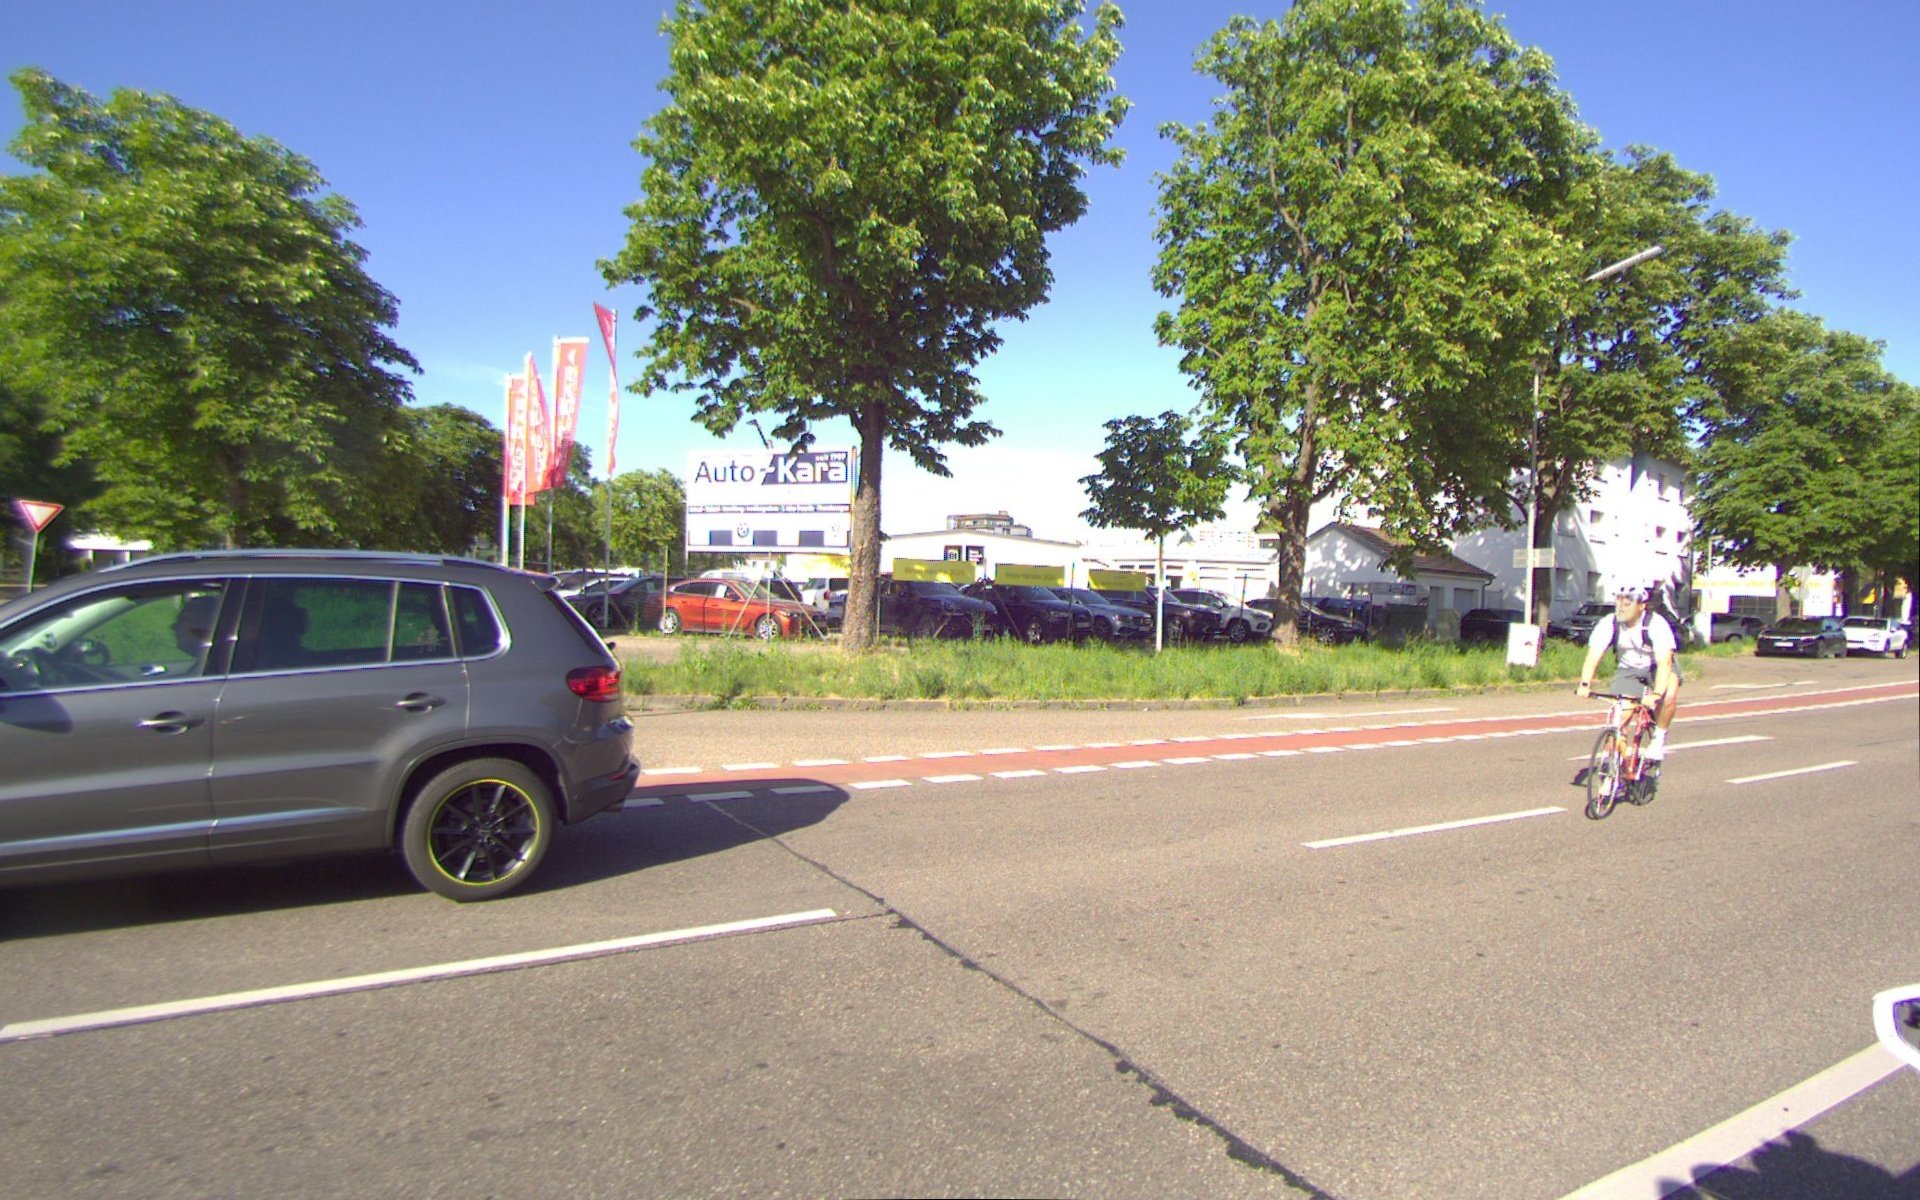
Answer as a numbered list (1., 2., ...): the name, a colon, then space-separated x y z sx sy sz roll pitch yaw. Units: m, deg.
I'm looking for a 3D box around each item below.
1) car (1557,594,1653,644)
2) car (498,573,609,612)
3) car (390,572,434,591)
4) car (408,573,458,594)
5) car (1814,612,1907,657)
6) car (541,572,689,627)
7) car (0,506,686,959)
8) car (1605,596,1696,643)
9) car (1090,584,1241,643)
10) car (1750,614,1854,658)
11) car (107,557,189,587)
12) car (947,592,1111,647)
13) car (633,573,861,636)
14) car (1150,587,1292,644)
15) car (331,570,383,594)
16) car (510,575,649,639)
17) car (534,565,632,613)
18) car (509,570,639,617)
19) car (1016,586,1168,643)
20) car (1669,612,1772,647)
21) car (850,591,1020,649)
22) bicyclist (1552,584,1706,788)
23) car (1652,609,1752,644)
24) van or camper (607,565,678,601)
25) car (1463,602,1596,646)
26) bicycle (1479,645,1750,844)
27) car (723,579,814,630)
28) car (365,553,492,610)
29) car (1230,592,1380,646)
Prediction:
1. car: 27.024 0.777 42.022 5.055 1.956 1.734 1 1 -37
2. car: -15.982 -0.298 39.591 3.943 1.427 1.829 1 1 -23
3. car: -45.403 -1.523 83.270 1.837 1.459 3.481 3 1 -4
4. car: -41.047 -1.317 78.287 1.962 1.469 3.997 3 1 -4
5. car: 38.398 1.435 42.788 5.189 1.752 2.022 1 1 -38
6. car: -10.248 -0.002 29.861 3.950 1.481 1.732 1 0 -28
7. car: -3.712 0.509 4.974 4.222 1.759 1.843 0 0 -32
8. car: 31.161 0.890 45.297 4.745 1.956 2.053 1 1 -38
9. car: 6.082 0.358 29.948 3.937 1.581 1.992 2 1 38
10. car: 31.909 1.339 38.024 4.917 1.483 2.022 1 0 -38
11. car: -51.213 -1.738 63.445 1.970 1.820 3.999 1 1 -1
12. car: 1.805 0.475 26.654 3.871 1.257 2.035 2 1 38
13. car: -5.152 0.064 24.286 4.964 1.327 2.359 2 1 25
14. car: 8.247 0.444 31.914 1.910 1.632 3.946 0 1 -45
15. car: -46.193 -1.399 77.046 1.705 1.640 3.997 3 1 -4
16. car: -12.113 0.241 31.986 3.950 1.911 1.986 1 0 -28
17. car: -16.759 -0.474 44.807 3.936 2.041 1.992 1 1 -17
18. car: -13.184 -0.217 34.354 3.950 1.460 1.986 1 0 -28
19. car: 3.694 0.361 28.450 3.821 1.432 1.937 2 1 40
20. car: 38.325 1.472 50.739 3.930 1.619 1.995 0 1 32
21. car: -0.665 0.446 25.270 3.871 1.257 2.035 2 1 38
22. bicyclist: 5.310 0.635 7.979 0.818 1.505 0.766 0 1 -37
23. car: 36.096 1.262 48.985 3.601 1.530 1.783 2 1 26
24. van or camper: -24.857 -1.294 78.961 2.553 2.617 6.616 1 -1 9
25. car: 21.491 0.900 37.997 1.893 1.448 3.952 3 0 -41
26. bicycle: 5.272 1.018 7.958 3.184 1.242 0.787 1 1 -38
27. car: -6.166 0.125 32.040 1.810 1.526 3.971 1 0 -27
28. car: -20.438 -0.683 38.793 3.933 2.040 1.994 1 1 -15
29. car: 11.381 0.568 33.258 4.337 1.596 1.807 2 1 36
